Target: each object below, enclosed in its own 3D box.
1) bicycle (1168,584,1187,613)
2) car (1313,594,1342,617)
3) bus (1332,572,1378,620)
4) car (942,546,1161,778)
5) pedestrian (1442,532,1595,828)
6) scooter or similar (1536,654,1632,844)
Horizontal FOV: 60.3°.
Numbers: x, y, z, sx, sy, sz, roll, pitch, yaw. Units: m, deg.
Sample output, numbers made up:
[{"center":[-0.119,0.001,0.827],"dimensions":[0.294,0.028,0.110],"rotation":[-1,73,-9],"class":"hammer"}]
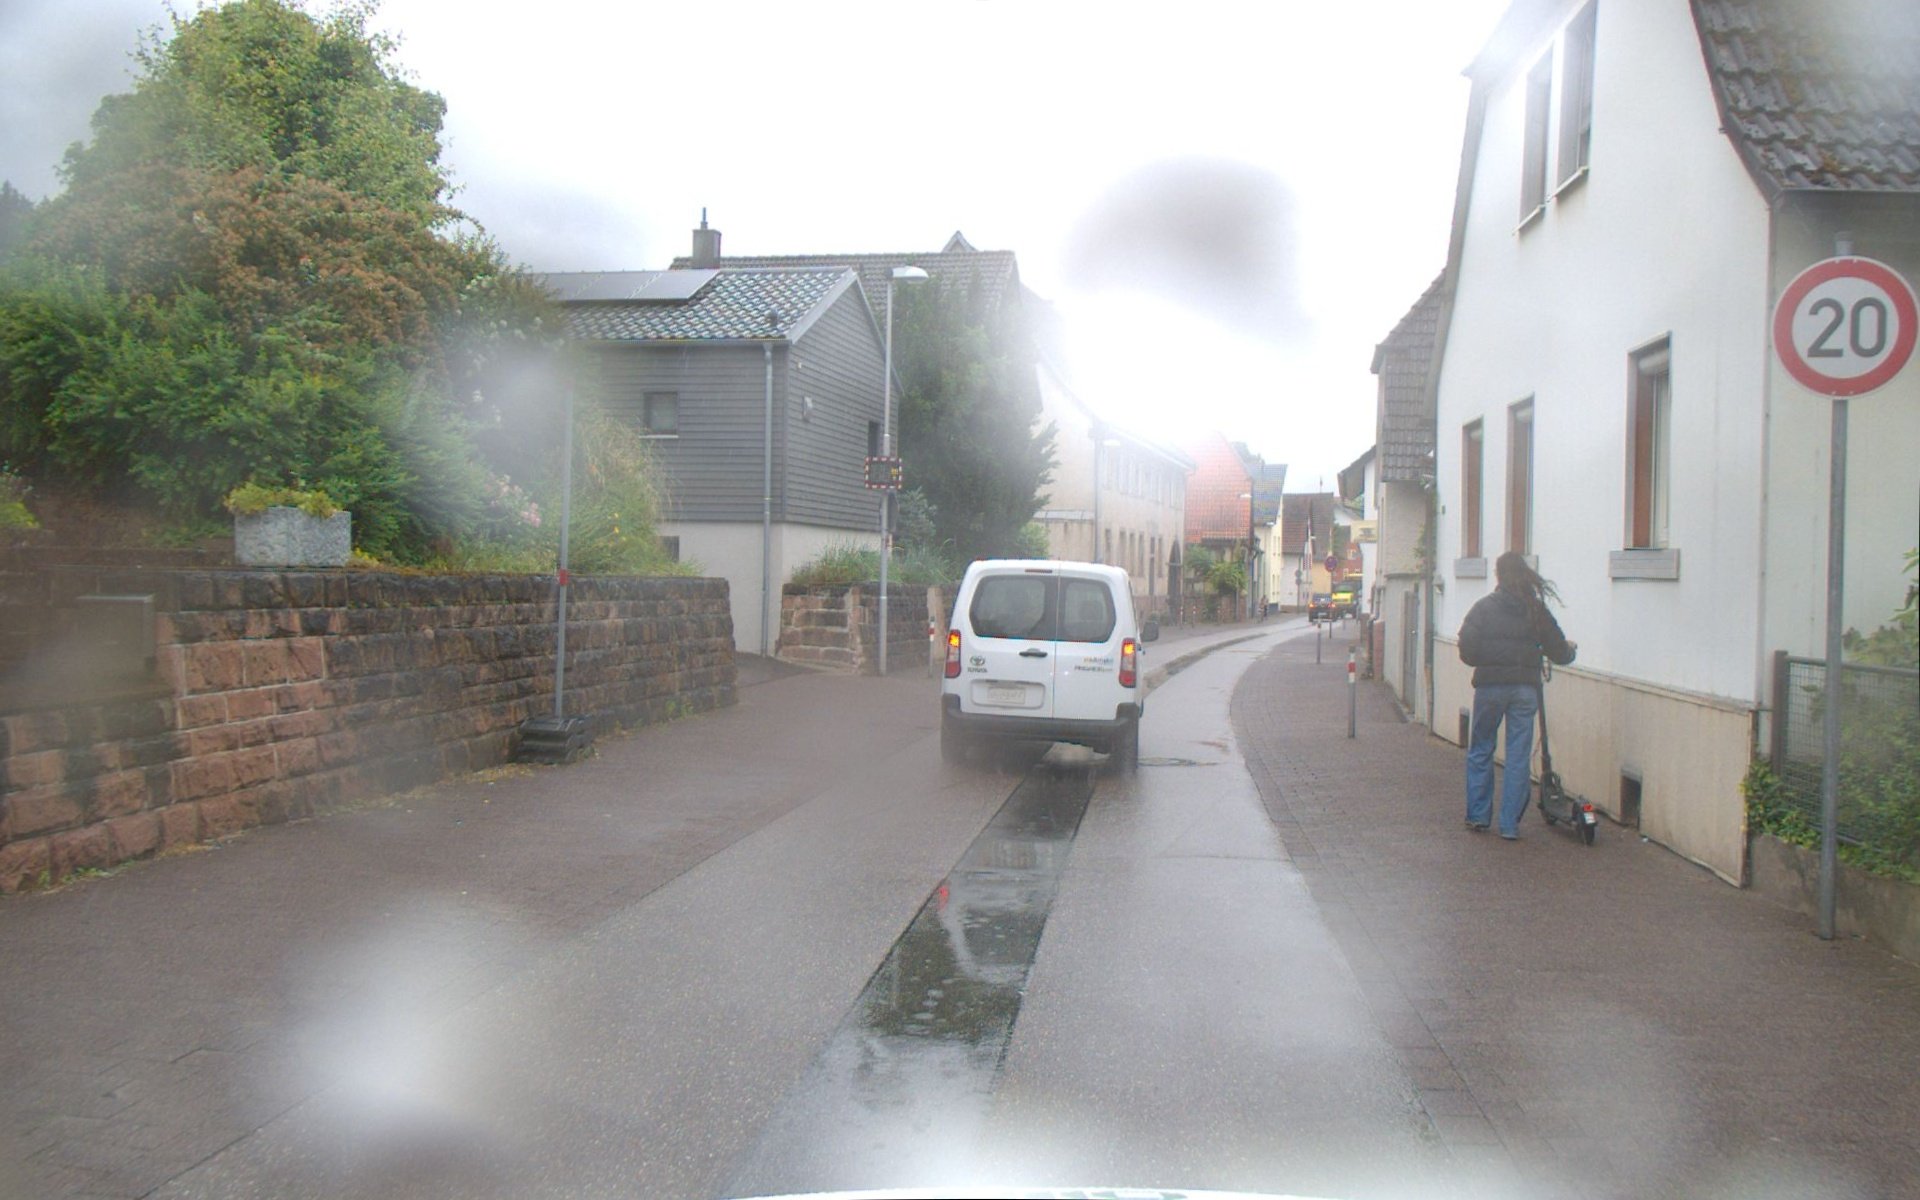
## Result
[{"center":[9.310,-0.062,70.779],"dimensions":[0.473,1.200,1.836],"rotation":[2,0,18],"class":"bicycle"},{"center":[23.757,0.338,106.964],"dimensions":[1.529,1.395,3.587],"rotation":[2,0,17],"class":"car"},{"center":[28.559,-0.292,119.281],"dimensions":[2.735,3.235,8.183],"rotation":[3,1,16],"class":"bus"},{"center":[1.005,0.518,15.904],"dimensions":[1.757,1.850,4.104],"rotation":[3,0,7],"class":"car"},{"center":[3.505,0.473,10.443],"dimensions":[0.679,1.762,0.822],"rotation":[3,2,7],"class":"pedestrian"},{"center":[3.863,0.895,10.284],"dimensions":[0.240,1.045,1.101],"rotation":[3,2,6],"class":"scooter or similar"}]
